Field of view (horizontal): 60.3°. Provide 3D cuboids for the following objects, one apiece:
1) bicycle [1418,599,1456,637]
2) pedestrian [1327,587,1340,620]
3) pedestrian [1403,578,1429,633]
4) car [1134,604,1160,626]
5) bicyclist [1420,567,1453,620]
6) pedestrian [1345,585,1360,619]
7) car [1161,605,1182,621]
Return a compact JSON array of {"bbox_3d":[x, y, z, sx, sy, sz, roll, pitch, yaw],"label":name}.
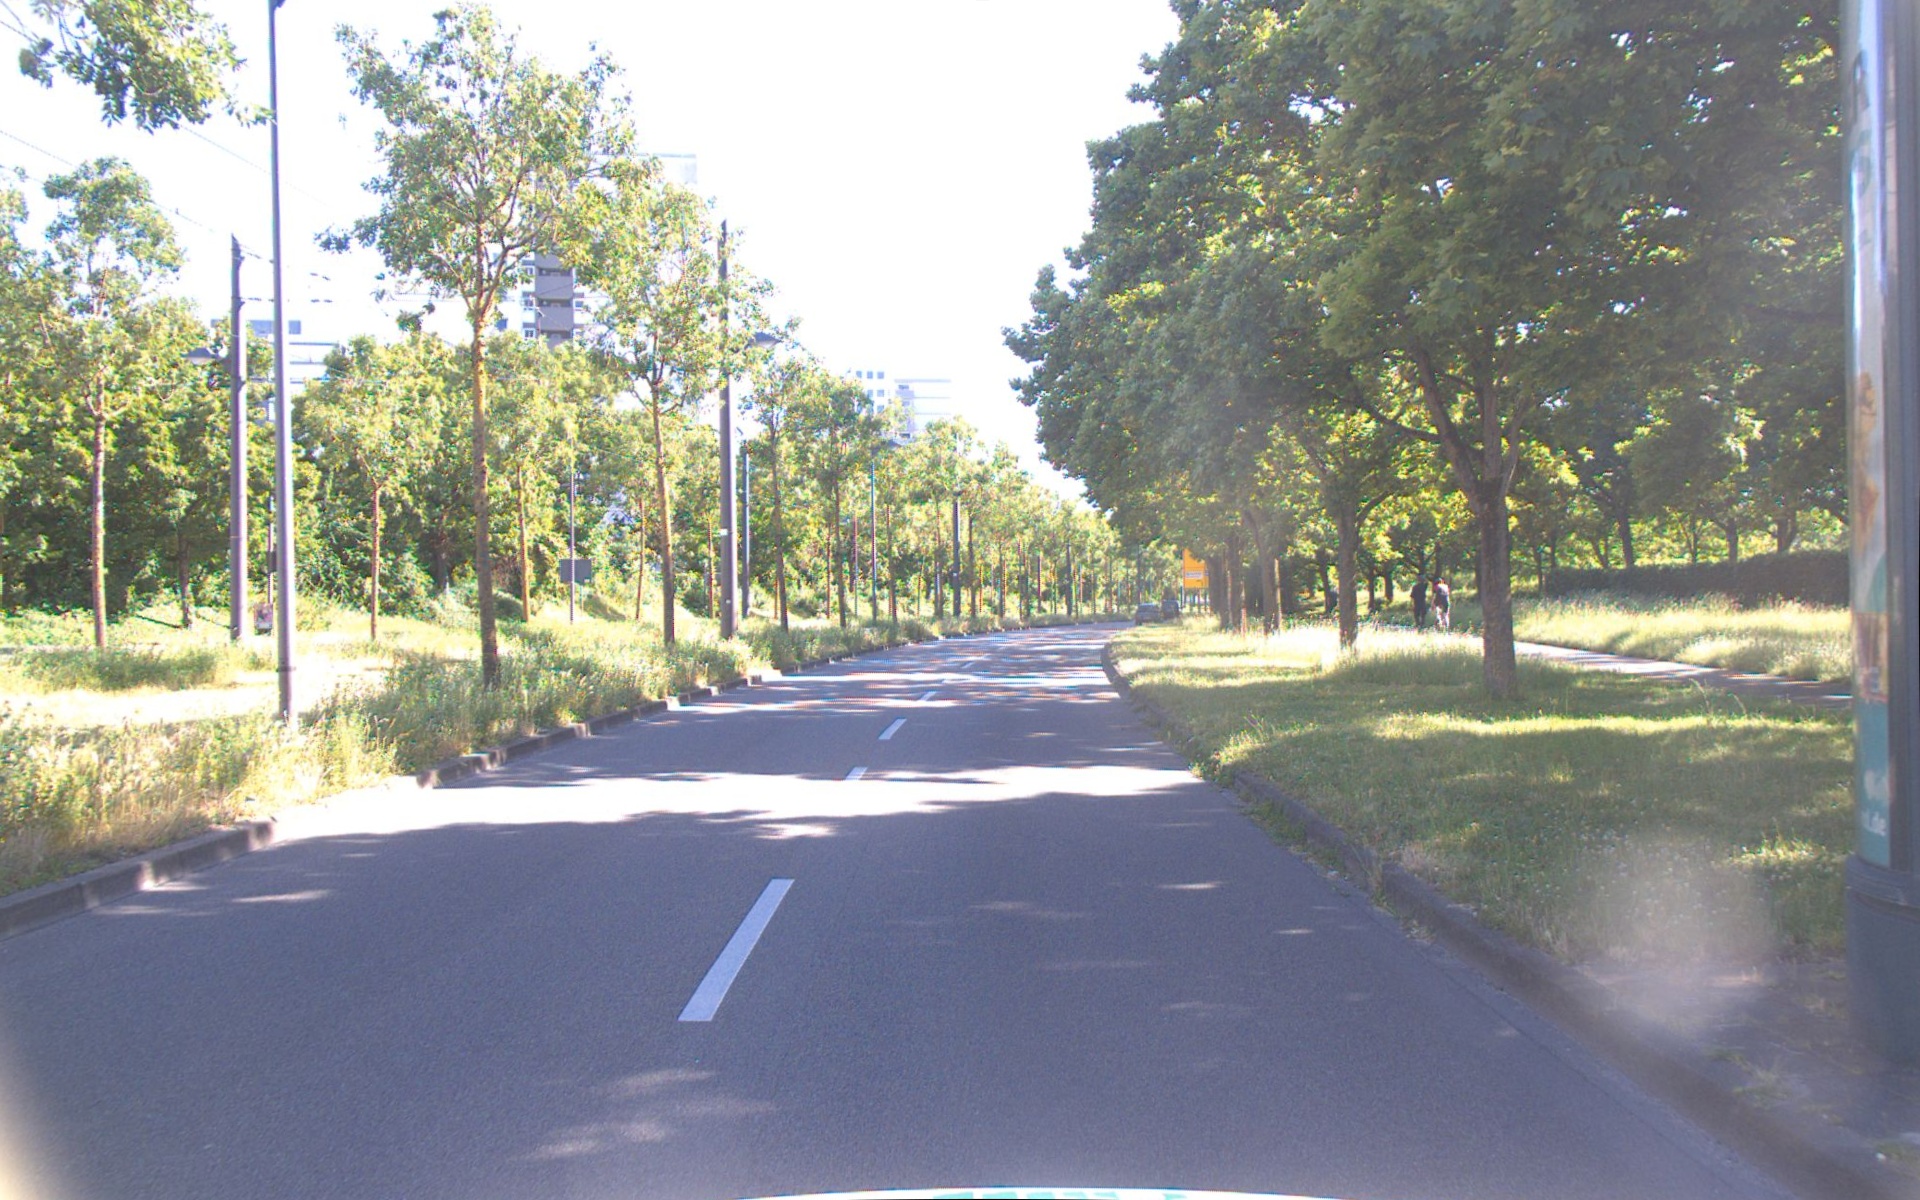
[{"bbox_3d":[13.625,0.502,47.188,0.778,1.065,2.142,-1,-1,23],"label":"bicycle"},{"bbox_3d":[19.364,0.181,85.767,0.535,1.650,0.844,-1,-1,20],"label":"pedestrian"},{"bbox_3d":[15.389,0.184,55.822,0.700,1.835,0.794,-1,0,7],"label":"pedestrian"},{"bbox_3d":[13.010,1.041,115.028,1.599,1.524,4.238,0,0,9],"label":"car"},{"bbox_3d":[13.607,-0.176,47.210,0.773,1.476,0.845,-1,-1,23],"label":"bicyclist"},{"bbox_3d":[20.267,0.123,85.490,0.623,1.721,0.844,-1,-1,20],"label":"pedestrian"},{"bbox_3d":[20.103,1.241,157.059,1.599,1.524,4.238,0,0,12],"label":"car"}]
